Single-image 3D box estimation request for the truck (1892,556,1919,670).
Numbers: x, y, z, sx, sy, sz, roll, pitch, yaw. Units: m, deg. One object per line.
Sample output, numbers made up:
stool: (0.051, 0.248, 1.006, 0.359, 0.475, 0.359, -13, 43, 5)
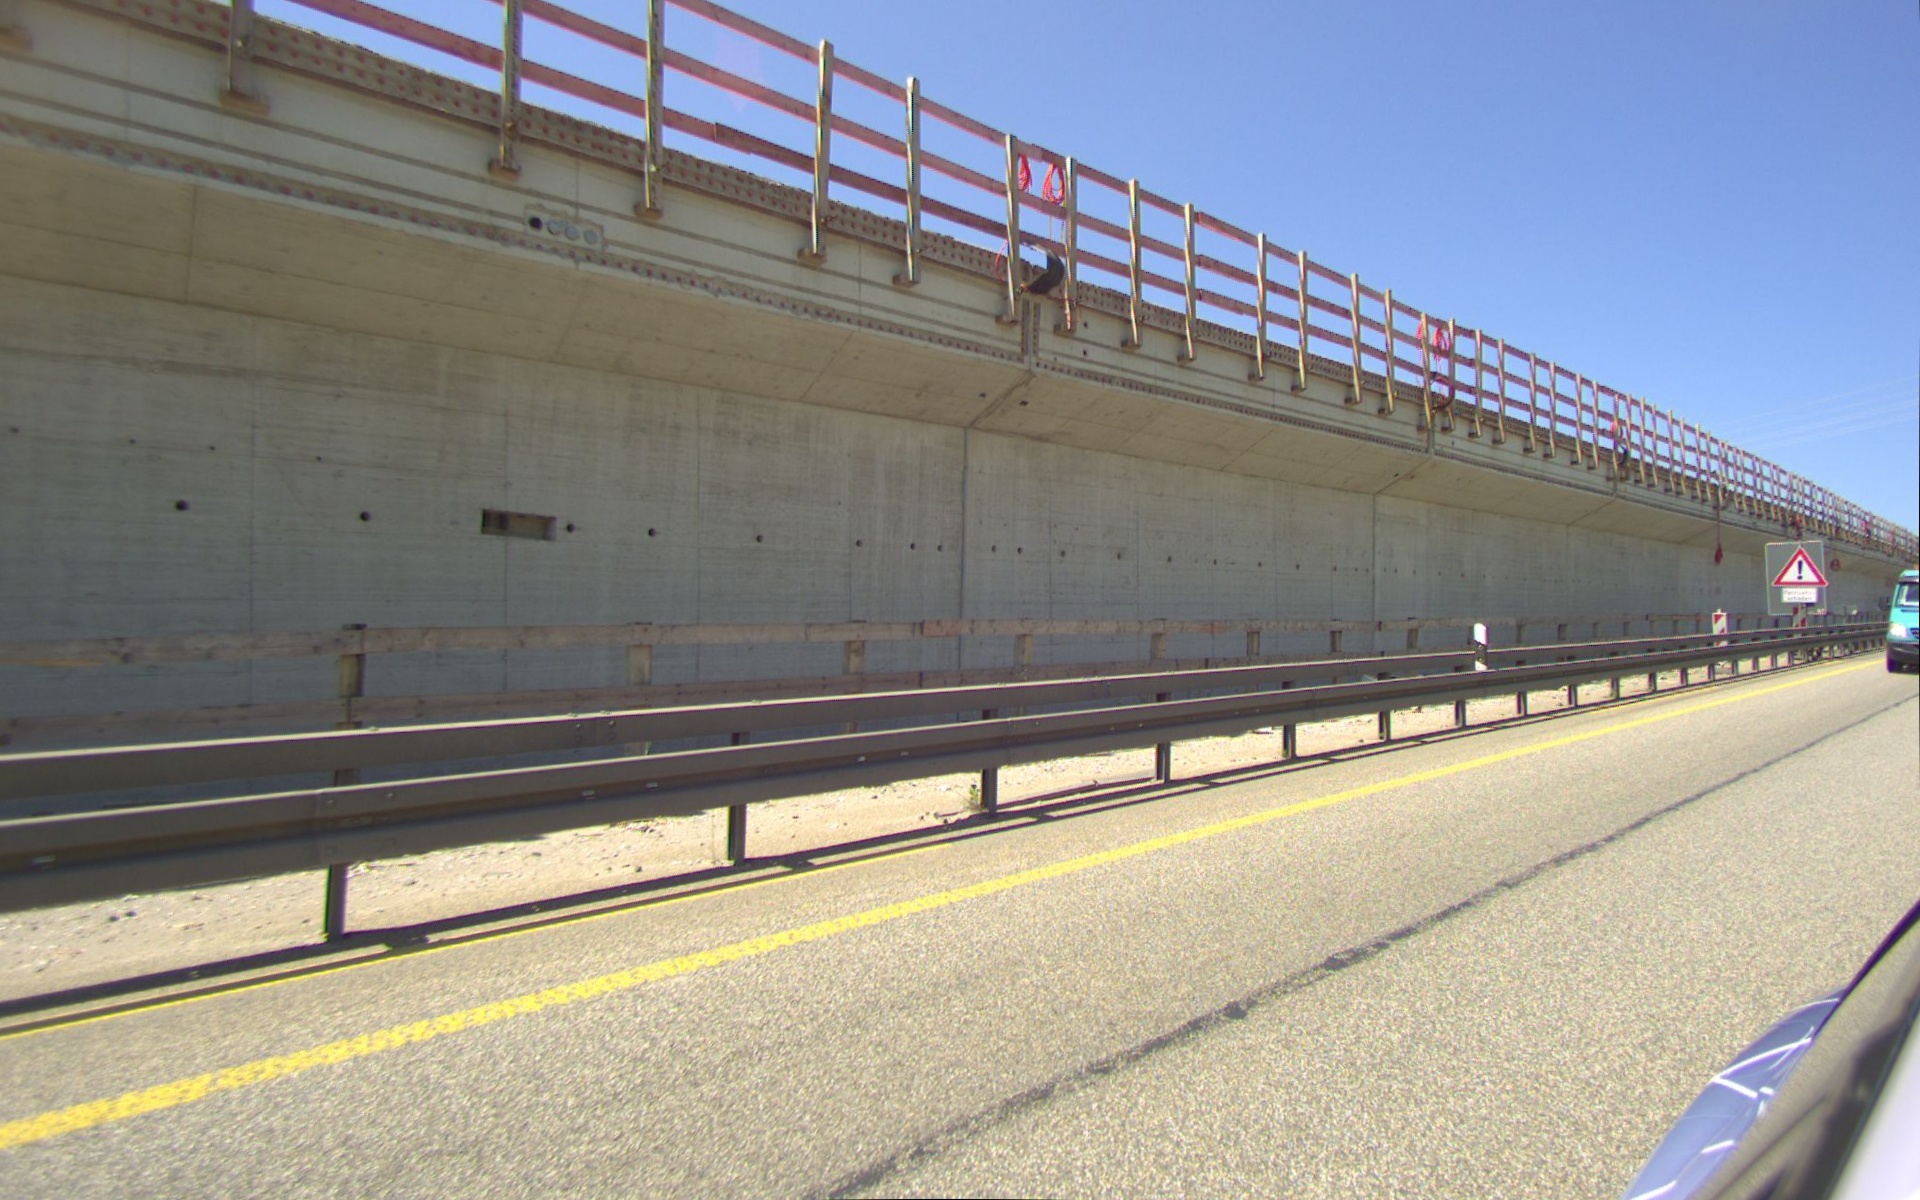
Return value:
truck: (23.299, 0.240, 23.100, 7.302, 2.387, 2.138, -1, 0, -41)
